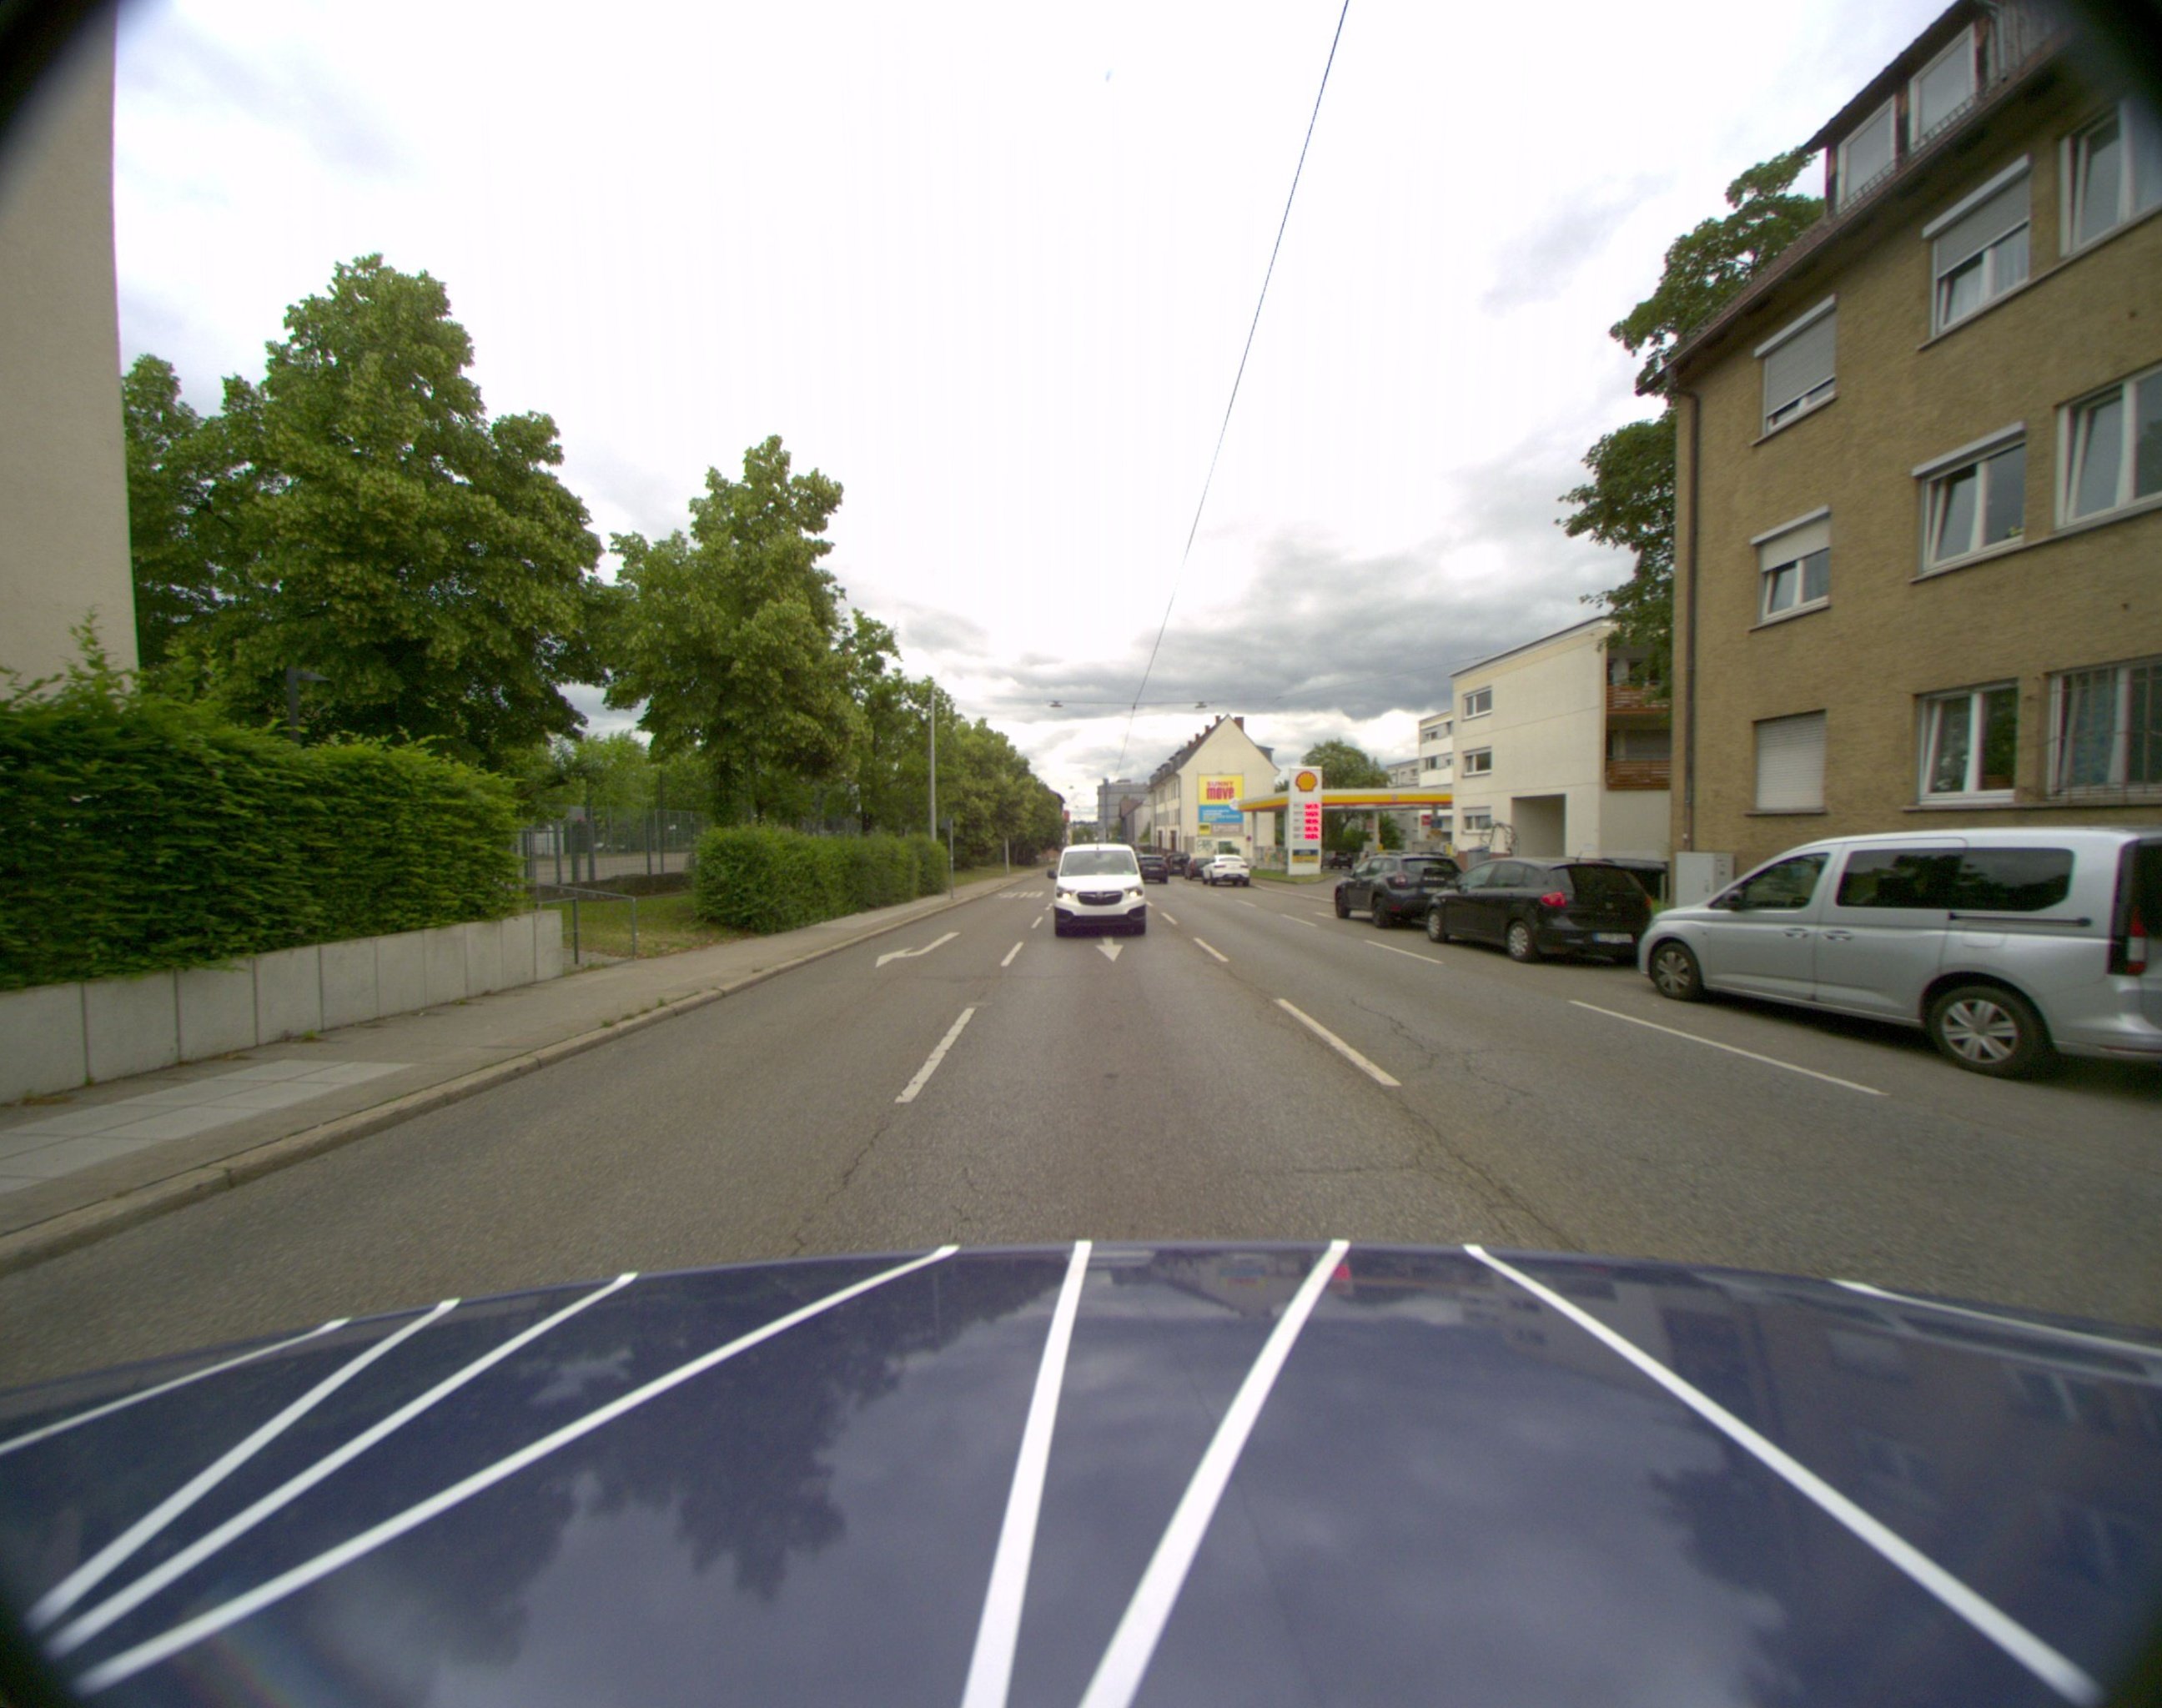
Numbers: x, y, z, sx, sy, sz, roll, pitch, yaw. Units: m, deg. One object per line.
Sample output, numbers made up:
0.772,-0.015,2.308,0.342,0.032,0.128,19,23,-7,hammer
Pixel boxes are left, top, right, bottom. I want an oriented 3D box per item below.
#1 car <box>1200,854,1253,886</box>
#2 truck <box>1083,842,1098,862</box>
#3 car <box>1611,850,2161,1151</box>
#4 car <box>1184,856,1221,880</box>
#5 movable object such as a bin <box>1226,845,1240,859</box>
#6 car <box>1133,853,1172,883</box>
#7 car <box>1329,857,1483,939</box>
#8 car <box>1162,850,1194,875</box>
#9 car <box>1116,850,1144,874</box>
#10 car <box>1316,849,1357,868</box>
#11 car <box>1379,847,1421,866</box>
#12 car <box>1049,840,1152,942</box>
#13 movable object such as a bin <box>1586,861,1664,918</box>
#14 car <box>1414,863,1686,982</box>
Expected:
7.492,0.783,39.496,1.920,1.568,4.700,0,0,1,car
1.769,-0.354,139.650,2.545,3.478,8.521,0,0,1,truck
7.123,0.850,6.661,1.781,1.743,4.557,0,0,0,car
7.715,0.857,48.714,1.802,1.423,4.744,0,0,3,car
16.594,-0.183,82.994,1.268,1.529,1.104,1,0,0,movable object such as a bin
3.986,0.741,42.877,1.844,1.581,4.164,0,0,1,car
7.262,0.899,17.510,1.787,1.600,4.265,2,0,2,car
7.603,0.648,60.136,1.856,1.824,4.701,0,0,-1,car
3.871,0.608,60.894,1.936,1.889,4.589,0,0,0,car
20.461,0.329,60.949,1.802,1.412,4.417,-2,0,1,car
25.167,0.216,60.150,1.802,1.412,3.636,-2,0,0,car
0.397,0.731,16.056,1.850,1.831,4.285,-1,-1,1,car
14.440,0.924,20.206,1.396,1.420,0.913,-1,0,-2,movable object such as a bin
7.157,0.946,12.184,1.756,1.521,4.098,0,0,-1,car
